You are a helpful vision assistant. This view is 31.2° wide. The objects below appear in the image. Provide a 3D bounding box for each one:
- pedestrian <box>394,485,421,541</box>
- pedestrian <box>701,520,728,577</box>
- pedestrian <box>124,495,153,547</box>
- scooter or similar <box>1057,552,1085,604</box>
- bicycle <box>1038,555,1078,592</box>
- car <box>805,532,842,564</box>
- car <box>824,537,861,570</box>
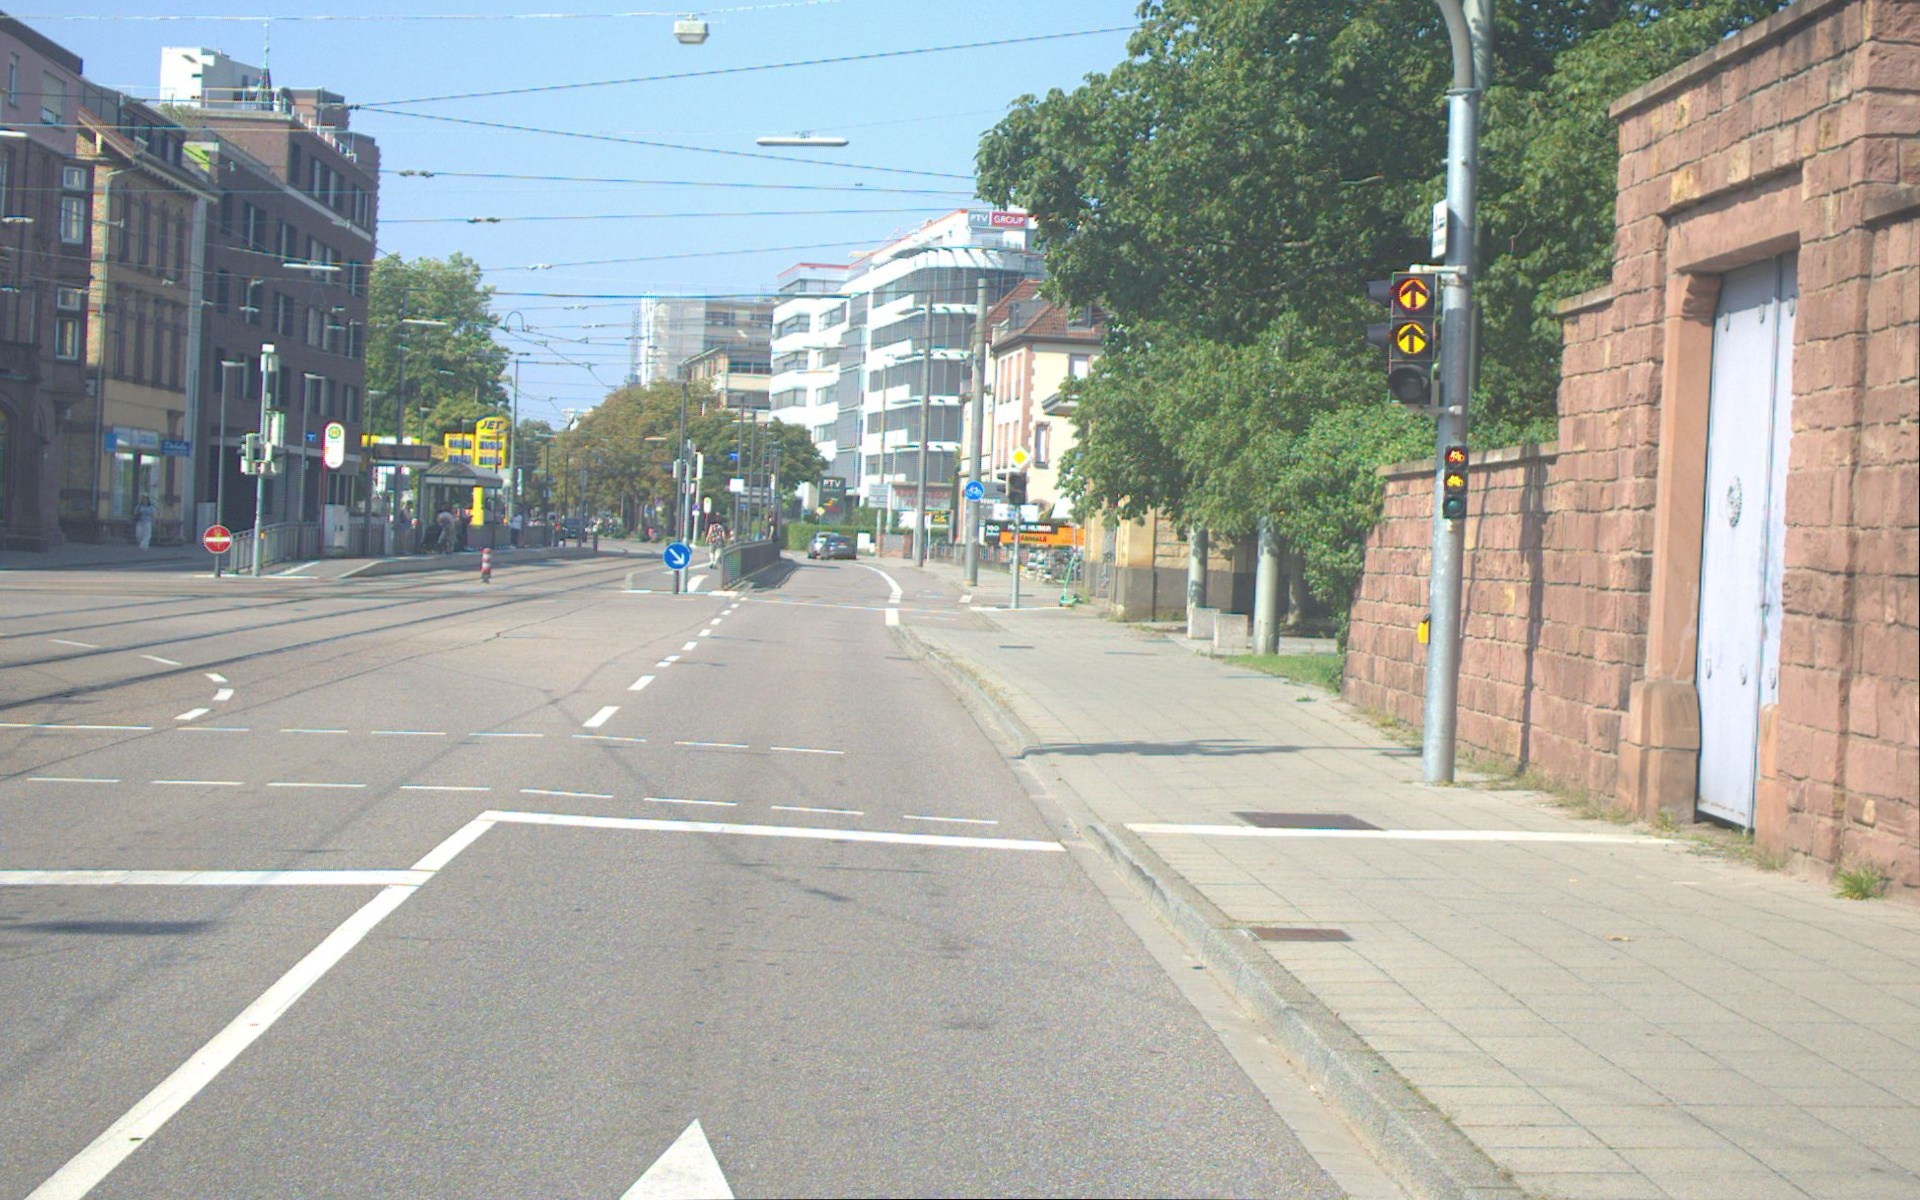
[{"bbox_3d":[-17.134,-2.684,106.643,0.708,1.717,0.799,1,1,-1],"label":"pedestrian"},{"bbox_3d":[-7.375,-1.538,103.351,0.720,1.697,0.884,1,1,-1],"label":"pedestrian"},{"bbox_3d":[-25.248,-2.425,105.681,0.483,1.554,0.887,4,0,9],"label":"pedestrian"},{"bbox_3d":[2.466,-0.502,76.661,0.523,1.129,1.511,1,1,-1],"label":"scooter or similar"},{"bbox_3d":[3.098,-0.858,108.755,0.731,1.129,2.840,-1,1,-9],"label":"bicycle"},{"bbox_3d":[-8.093,-3.105,204.192,2.011,1.852,4.000,1,1,-1],"label":"car"},{"bbox_3d":[-6.761,-2.660,198.048,2.011,1.852,4.000,1,1,-1],"label":"car"}]
